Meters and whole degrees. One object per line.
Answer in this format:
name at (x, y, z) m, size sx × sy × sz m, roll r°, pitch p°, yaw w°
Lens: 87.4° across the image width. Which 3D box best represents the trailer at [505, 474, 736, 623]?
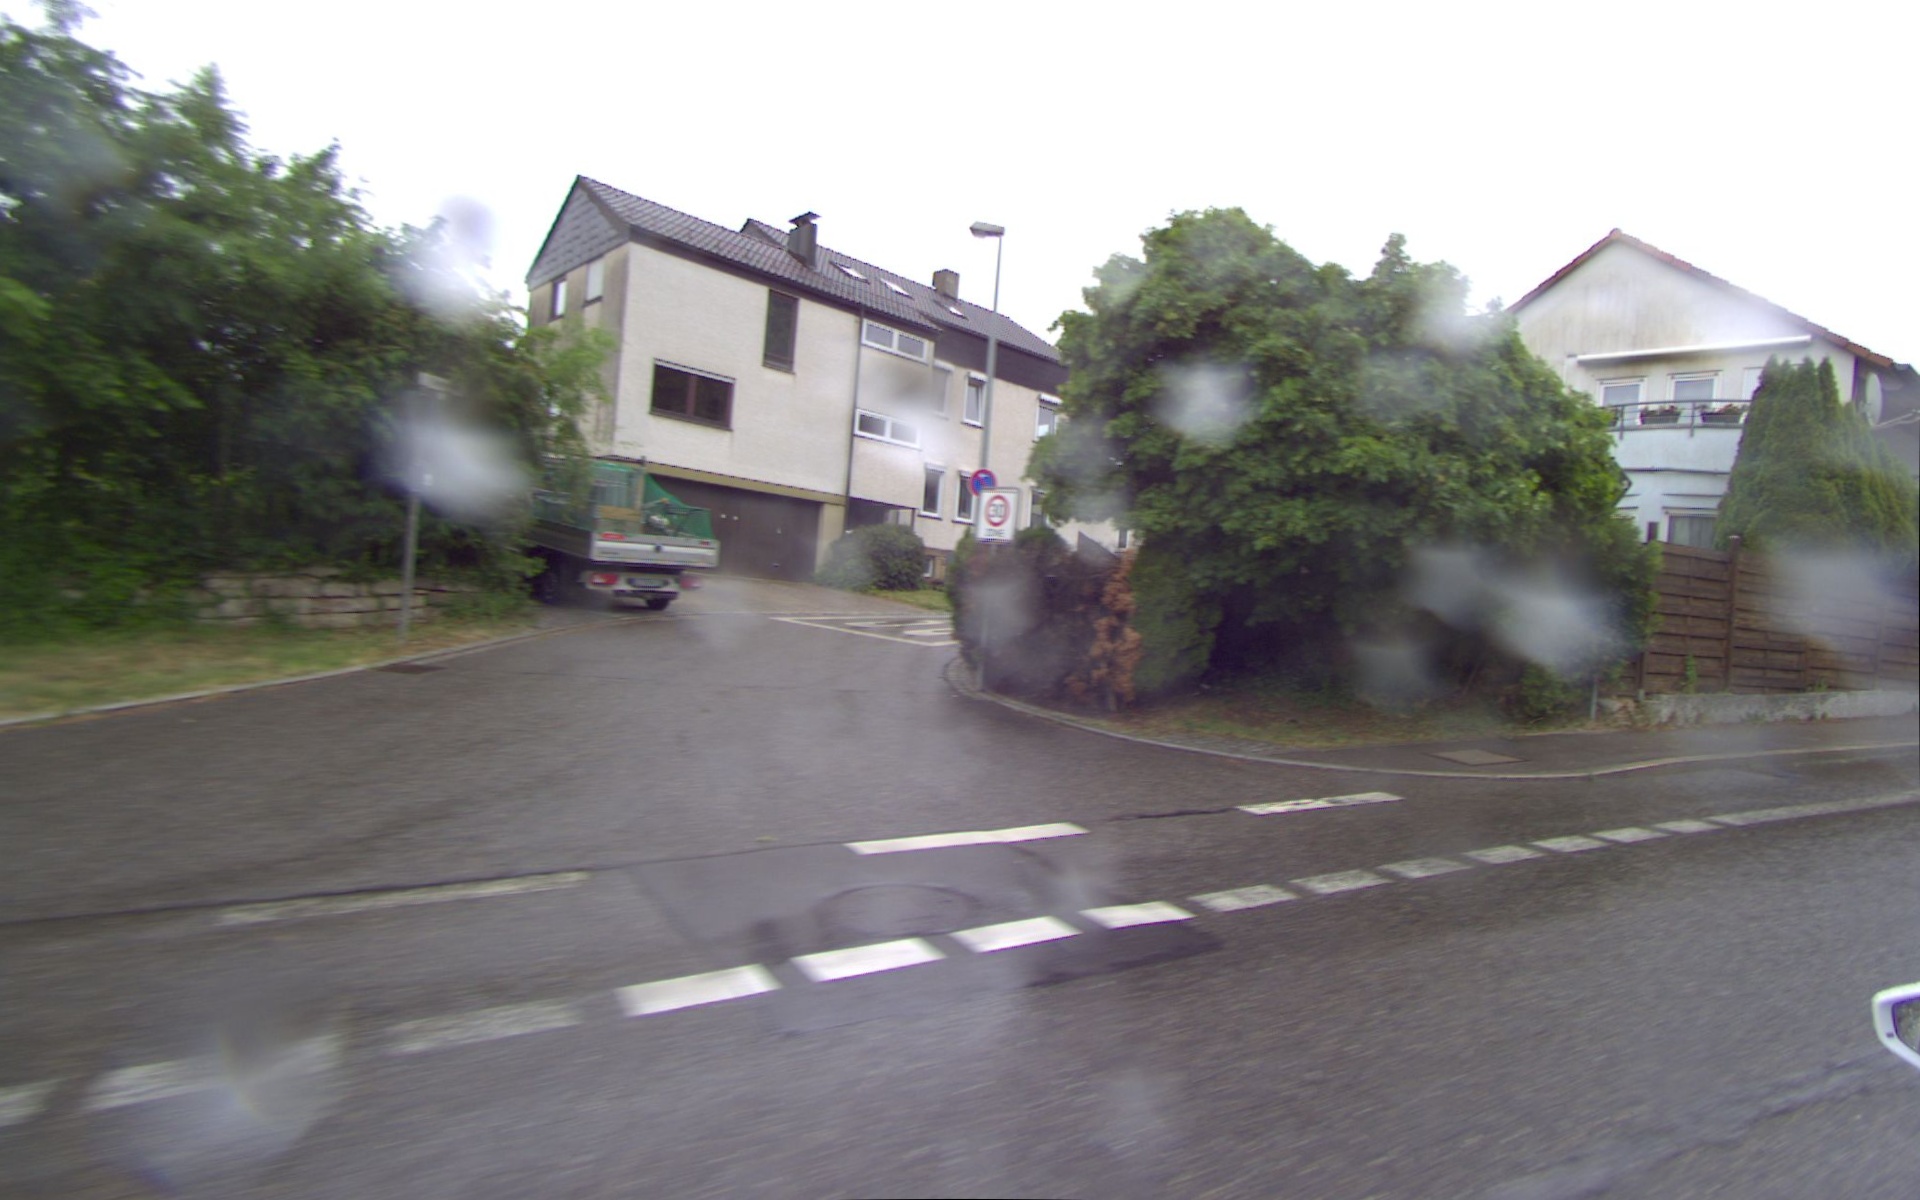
trailer at (-5.724, -0.908, 16.656) m, size 2.146 × 2.032 × 3.950 m, roll 1°, pitch 6°, yaw -43°
